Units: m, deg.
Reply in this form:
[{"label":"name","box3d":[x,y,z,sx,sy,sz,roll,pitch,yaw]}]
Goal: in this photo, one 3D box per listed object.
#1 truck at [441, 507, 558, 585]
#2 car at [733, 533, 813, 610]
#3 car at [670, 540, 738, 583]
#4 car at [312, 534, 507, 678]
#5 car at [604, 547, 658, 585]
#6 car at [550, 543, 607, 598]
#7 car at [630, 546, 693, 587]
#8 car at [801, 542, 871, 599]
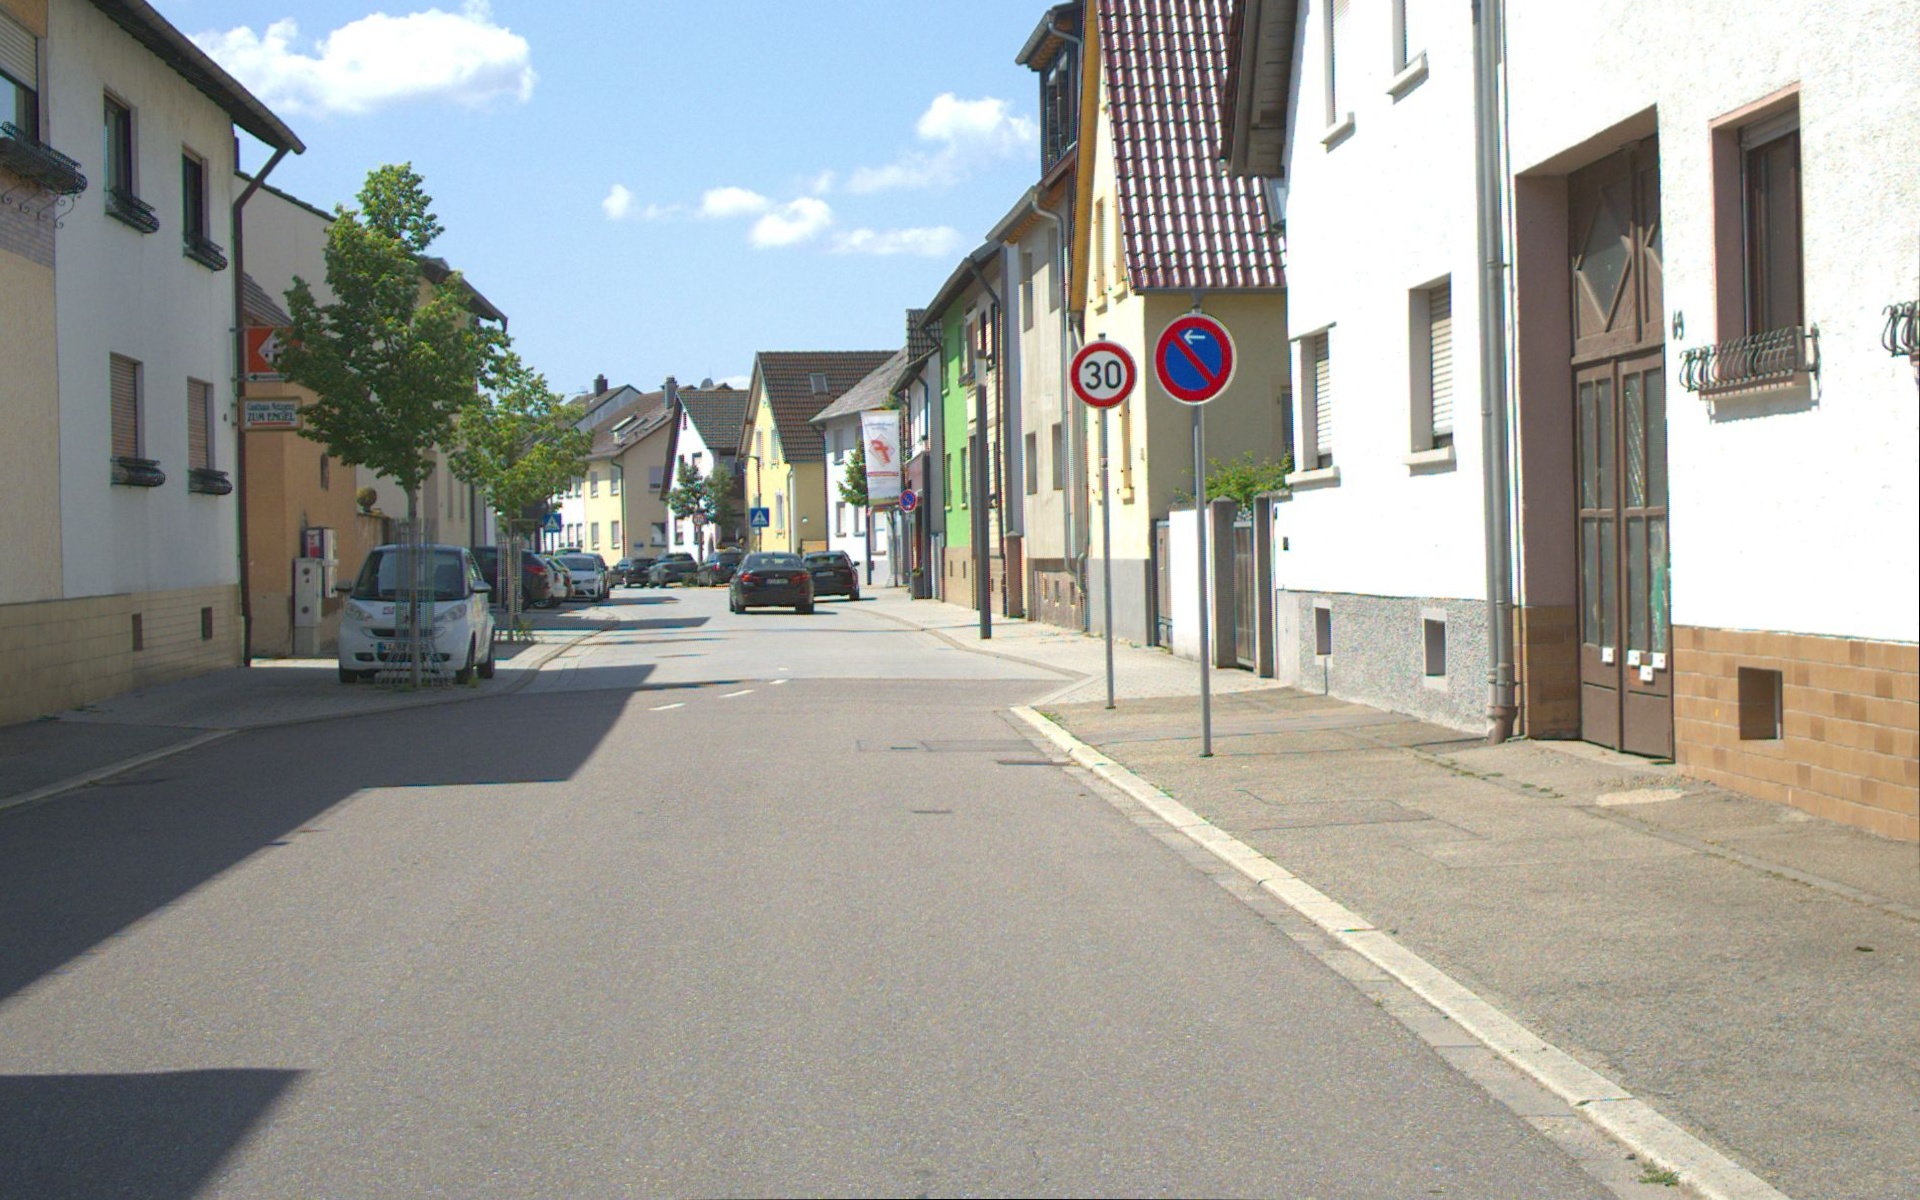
[{"label":"truck","box3d":[-24.613,-2.815,183.074,3.378,3.852,13.930,-2,1,-19]},{"label":"car","box3d":[-4.479,-0.678,81.943,1.782,1.747,4.001,-2,1,-4]},{"label":"car","box3d":[-10.895,-1.616,146.350,1.782,1.747,4.230,-2,1,-19]},{"label":"car","box3d":[-6.249,0.025,39.411,1.723,1.550,4.172,0,1,-2]},{"label":"car","box3d":[-15.653,-1.614,163.349,1.820,1.747,4.230,-2,1,-15]},{"label":"car","box3d":[-12.048,-0.927,108.471,1.734,1.681,4.233,1,1,-7]},{"label":"car","box3d":[-13.545,-1.512,155.934,1.820,1.747,4.230,-2,1,-19]},{"label":"car","box3d":[-3.620,-0.864,99.820,1.782,1.558,4.338,-2,1,-5]}]
